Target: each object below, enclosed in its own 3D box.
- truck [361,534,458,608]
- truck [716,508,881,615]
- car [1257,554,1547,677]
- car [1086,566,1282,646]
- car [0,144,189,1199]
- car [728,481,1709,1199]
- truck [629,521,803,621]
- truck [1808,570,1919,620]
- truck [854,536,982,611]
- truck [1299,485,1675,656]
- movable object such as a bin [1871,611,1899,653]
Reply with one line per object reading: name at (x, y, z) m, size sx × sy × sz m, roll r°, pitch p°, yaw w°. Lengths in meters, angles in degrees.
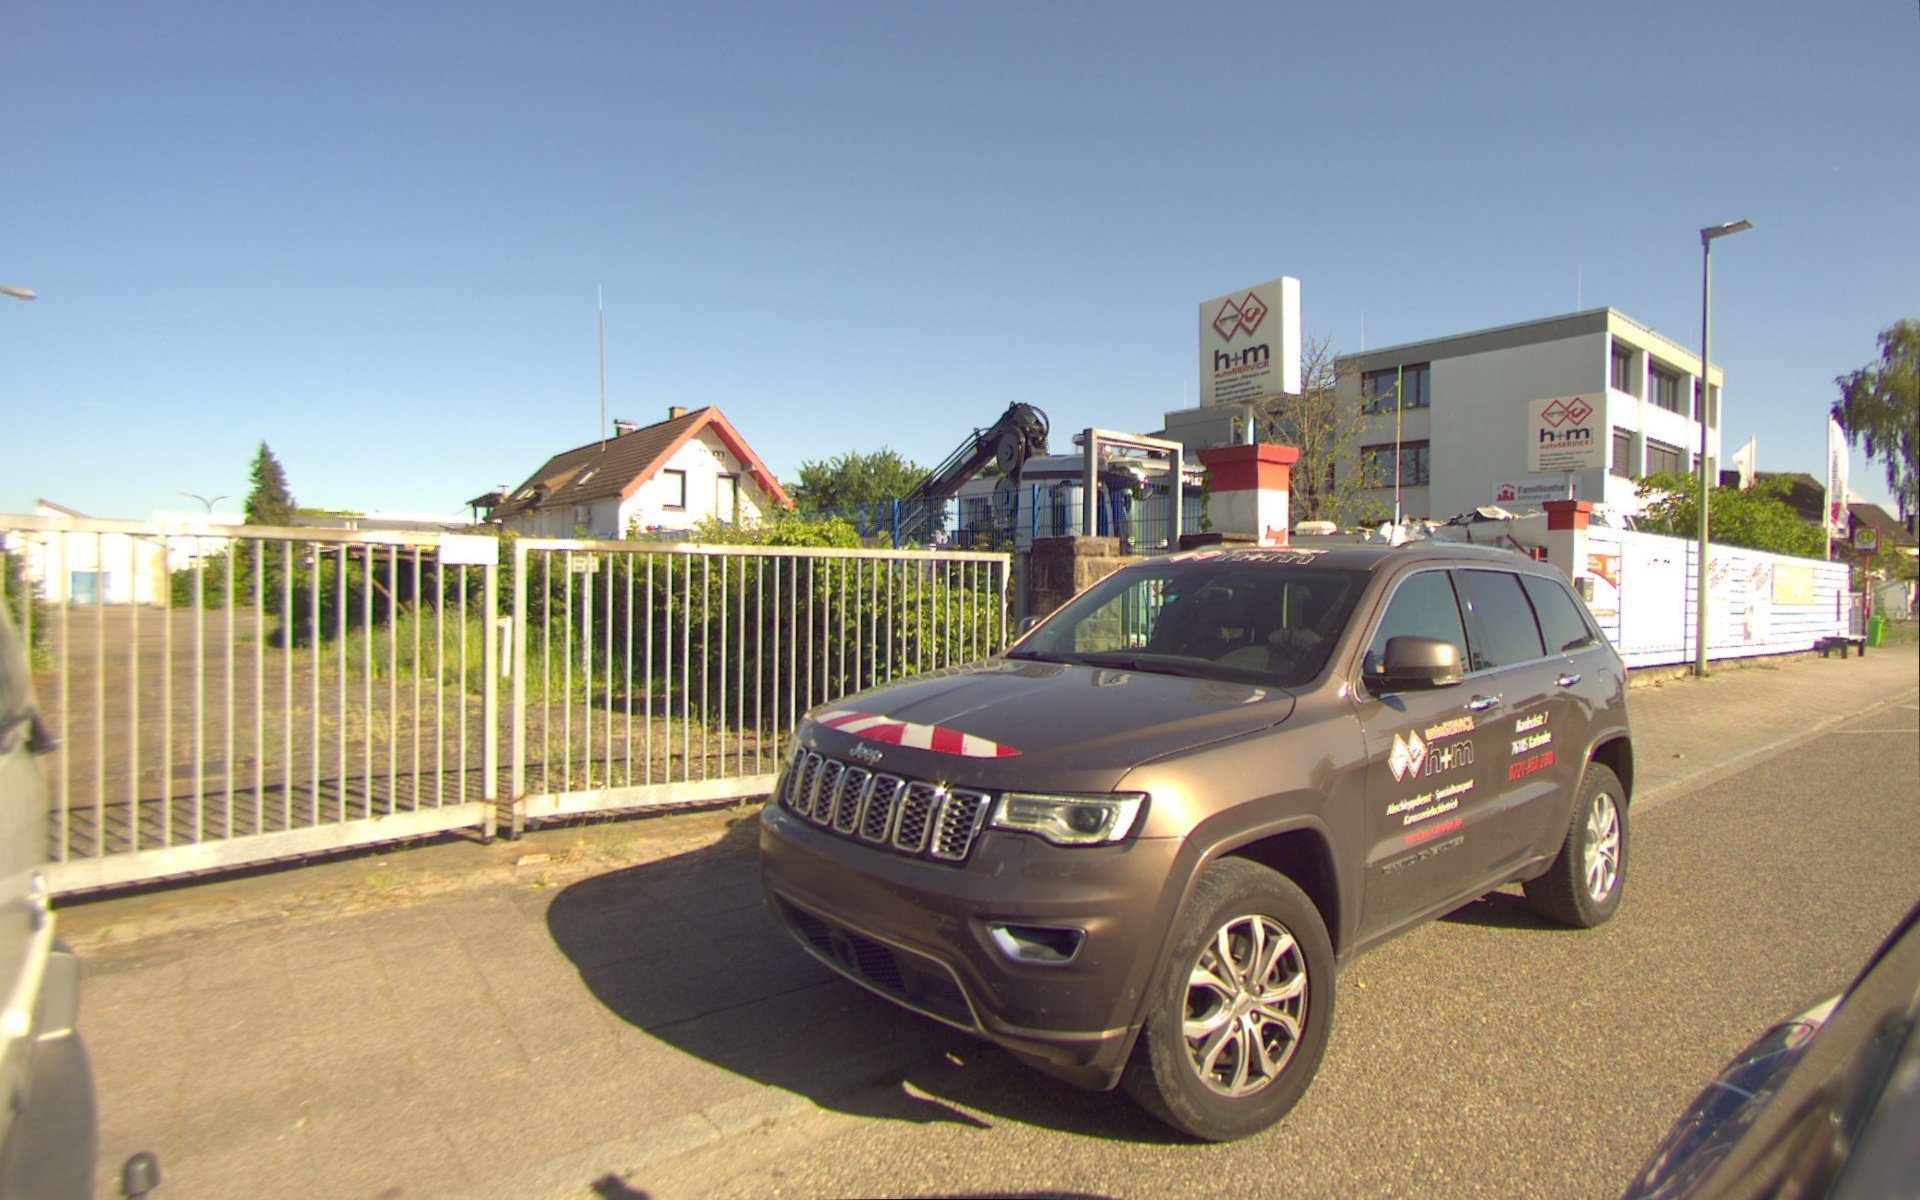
truck at (-23.344, -1.123, 42.776) m, size 2.663 × 2.876 × 5.981 m, roll -1°, pitch 0°, yaw -38°
truck at (-5.790, -1.214, 35.425) m, size 2.564 × 3.386 × 6.490 m, roll -1°, pitch 0°, yaw -42°
car at (7.287, 0.142, 17.212) m, size 1.935 × 1.763 × 4.315 m, roll 0°, pitch 3°, yaw -24°
car at (4.849, 0.087, 22.568) m, size 1.877 × 1.594 × 4.330 m, roll 0°, pitch 1°, yaw -29°
car at (-3.355, 0.478, 0.378) m, size 4.832 × 1.950 × 1.896 m, roll 0°, pitch 1°, yaw -39°
car at (1.579, 0.585, 4.562) m, size 4.826 × 1.766 × 1.805 m, roll -1°, pitch 0°, yaw -40°
truck at (-8.101, -0.924, 32.892) m, size 2.562 × 2.902 × 7.163 m, roll 1°, pitch 1°, yaw -40°
truck at (47.878, -0.279, 53.435) m, size 4.345 × 2.496 × 1.982 m, roll 1°, pitch 1°, yaw 27°
truck at (-1.980, -1.107, 45.153) m, size 2.691 × 3.090 × 6.010 m, roll -1°, pitch 0°, yaw -38°
truck at (10.159, -0.569, 20.159) m, size 2.335 × 2.852 × 6.244 m, roll 0°, pitch 1°, yaw -36°
movable object such as a bin at (22.184, 0.759, 24.273) m, size 0.556 × 0.968 × 0.383 m, roll 0°, pitch 1°, yaw -36°
